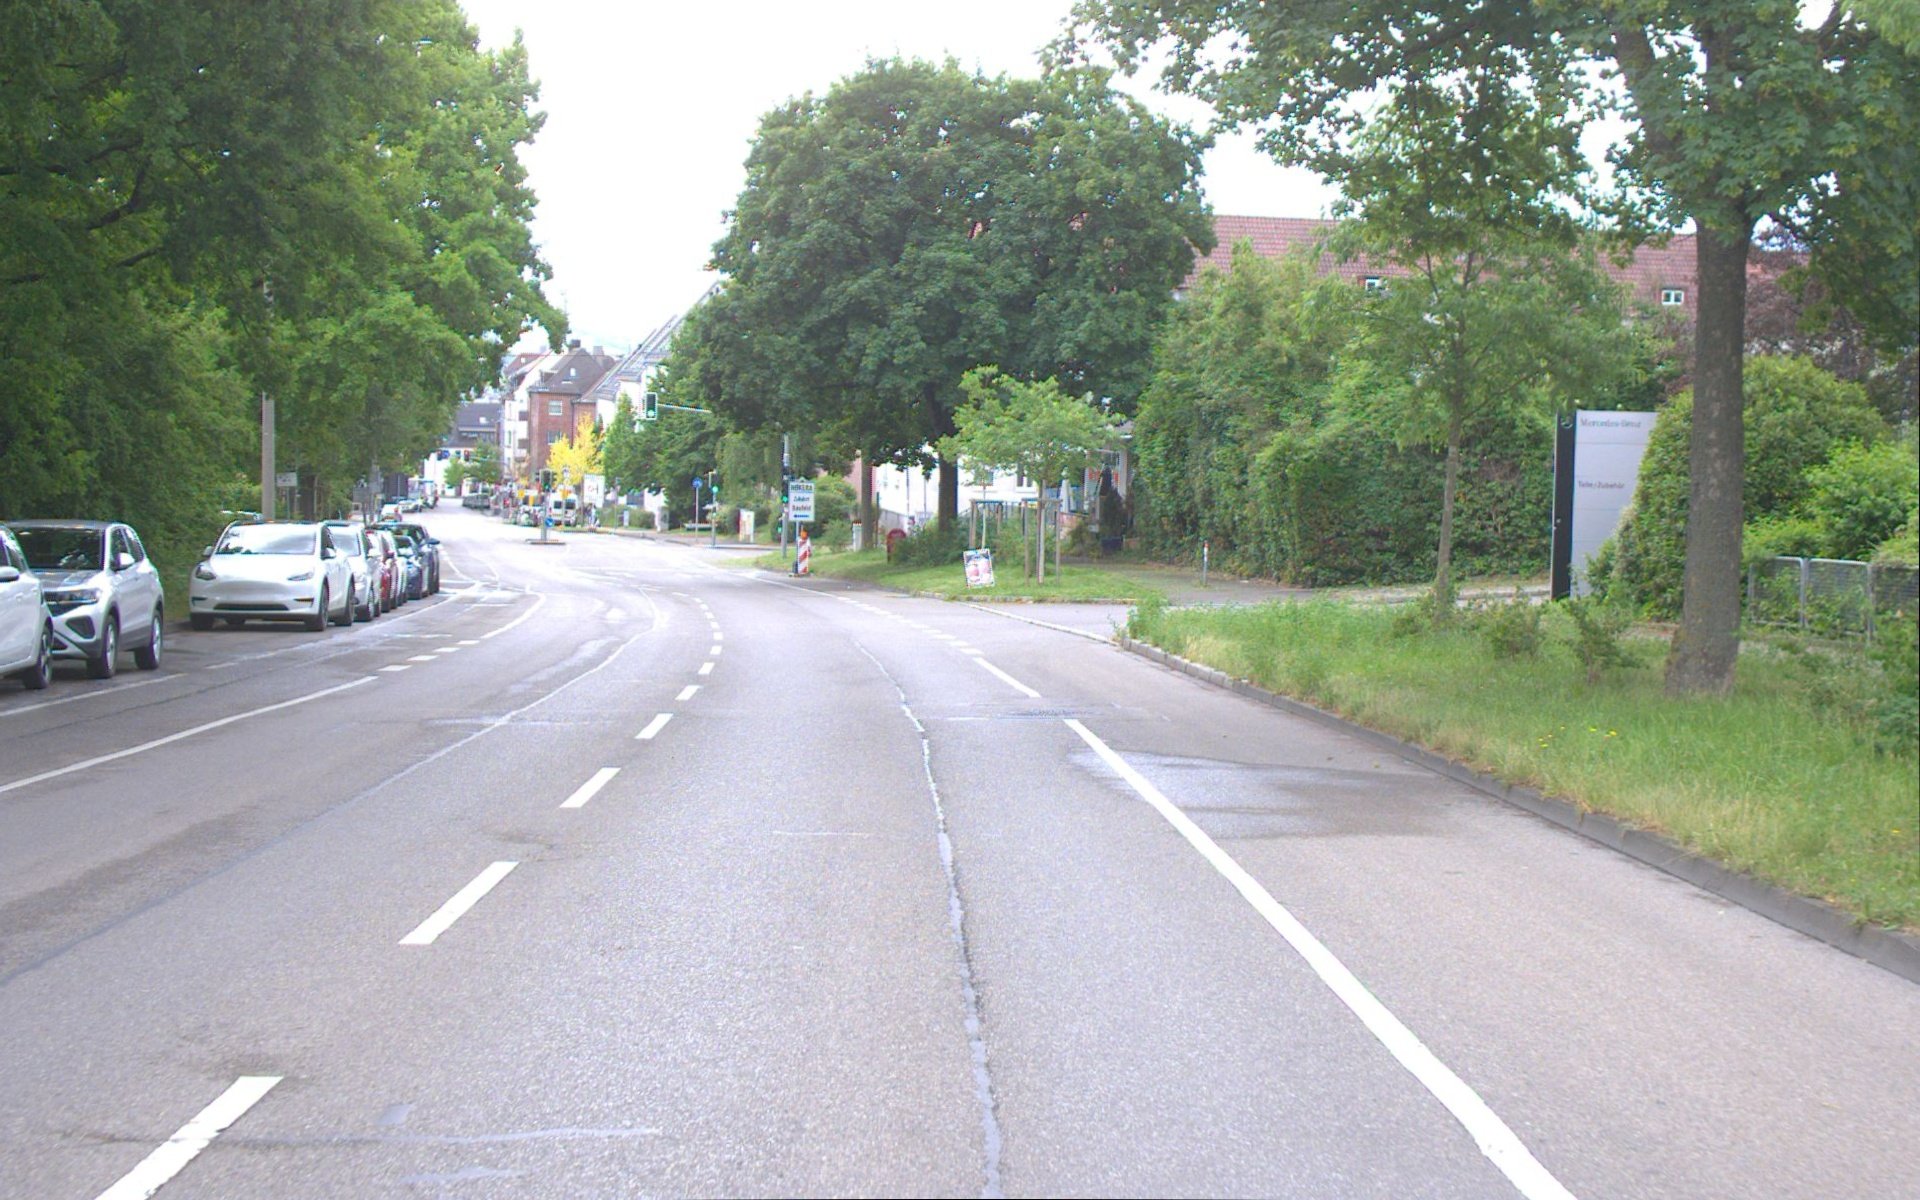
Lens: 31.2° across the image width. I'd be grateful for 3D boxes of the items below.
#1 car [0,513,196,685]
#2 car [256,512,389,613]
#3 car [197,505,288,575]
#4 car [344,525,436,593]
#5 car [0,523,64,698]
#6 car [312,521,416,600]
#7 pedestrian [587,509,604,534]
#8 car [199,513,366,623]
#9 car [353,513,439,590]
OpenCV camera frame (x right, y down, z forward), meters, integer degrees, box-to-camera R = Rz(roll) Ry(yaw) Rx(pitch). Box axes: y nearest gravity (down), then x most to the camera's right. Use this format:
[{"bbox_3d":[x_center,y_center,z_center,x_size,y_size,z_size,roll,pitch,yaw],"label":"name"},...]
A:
[{"bbox_3d":[-9.070,-0.062,34.939,1.766,1.628,4.158,1,1,-1],"label":"car"},{"bbox_3d":[-10.508,-0.632,56.923,1.868,1.567,4.121,1,1,-7],"label":"car"},{"bbox_3d":[-18.513,-1.563,88.845,1.761,1.627,4.001,4,1,-6],"label":"car"},{"bbox_3d":[-12.161,-0.905,73.526,1.715,1.384,4.339,1,1,-7],"label":"car"},{"bbox_3d":[-9.001,0.067,30.035,1.581,1.476,3.720,1,1,-4],"label":"car"},{"bbox_3d":[-11.642,-0.782,67.371,1.715,1.454,4.758,1,1,-7],"label":"car"},{"bbox_3d":[-27.066,-5.794,255.143,1.200,1.804,1.301,2,1,-8],"label":"pedestrian"},{"bbox_3d":[-10.105,-0.497,51.557,1.767,1.567,4.760,0,1,-3],"label":"car"},{"bbox_3d":[-12.948,-1.133,79.086,1.715,1.607,4.536,1,2,-7],"label":"car"}]
